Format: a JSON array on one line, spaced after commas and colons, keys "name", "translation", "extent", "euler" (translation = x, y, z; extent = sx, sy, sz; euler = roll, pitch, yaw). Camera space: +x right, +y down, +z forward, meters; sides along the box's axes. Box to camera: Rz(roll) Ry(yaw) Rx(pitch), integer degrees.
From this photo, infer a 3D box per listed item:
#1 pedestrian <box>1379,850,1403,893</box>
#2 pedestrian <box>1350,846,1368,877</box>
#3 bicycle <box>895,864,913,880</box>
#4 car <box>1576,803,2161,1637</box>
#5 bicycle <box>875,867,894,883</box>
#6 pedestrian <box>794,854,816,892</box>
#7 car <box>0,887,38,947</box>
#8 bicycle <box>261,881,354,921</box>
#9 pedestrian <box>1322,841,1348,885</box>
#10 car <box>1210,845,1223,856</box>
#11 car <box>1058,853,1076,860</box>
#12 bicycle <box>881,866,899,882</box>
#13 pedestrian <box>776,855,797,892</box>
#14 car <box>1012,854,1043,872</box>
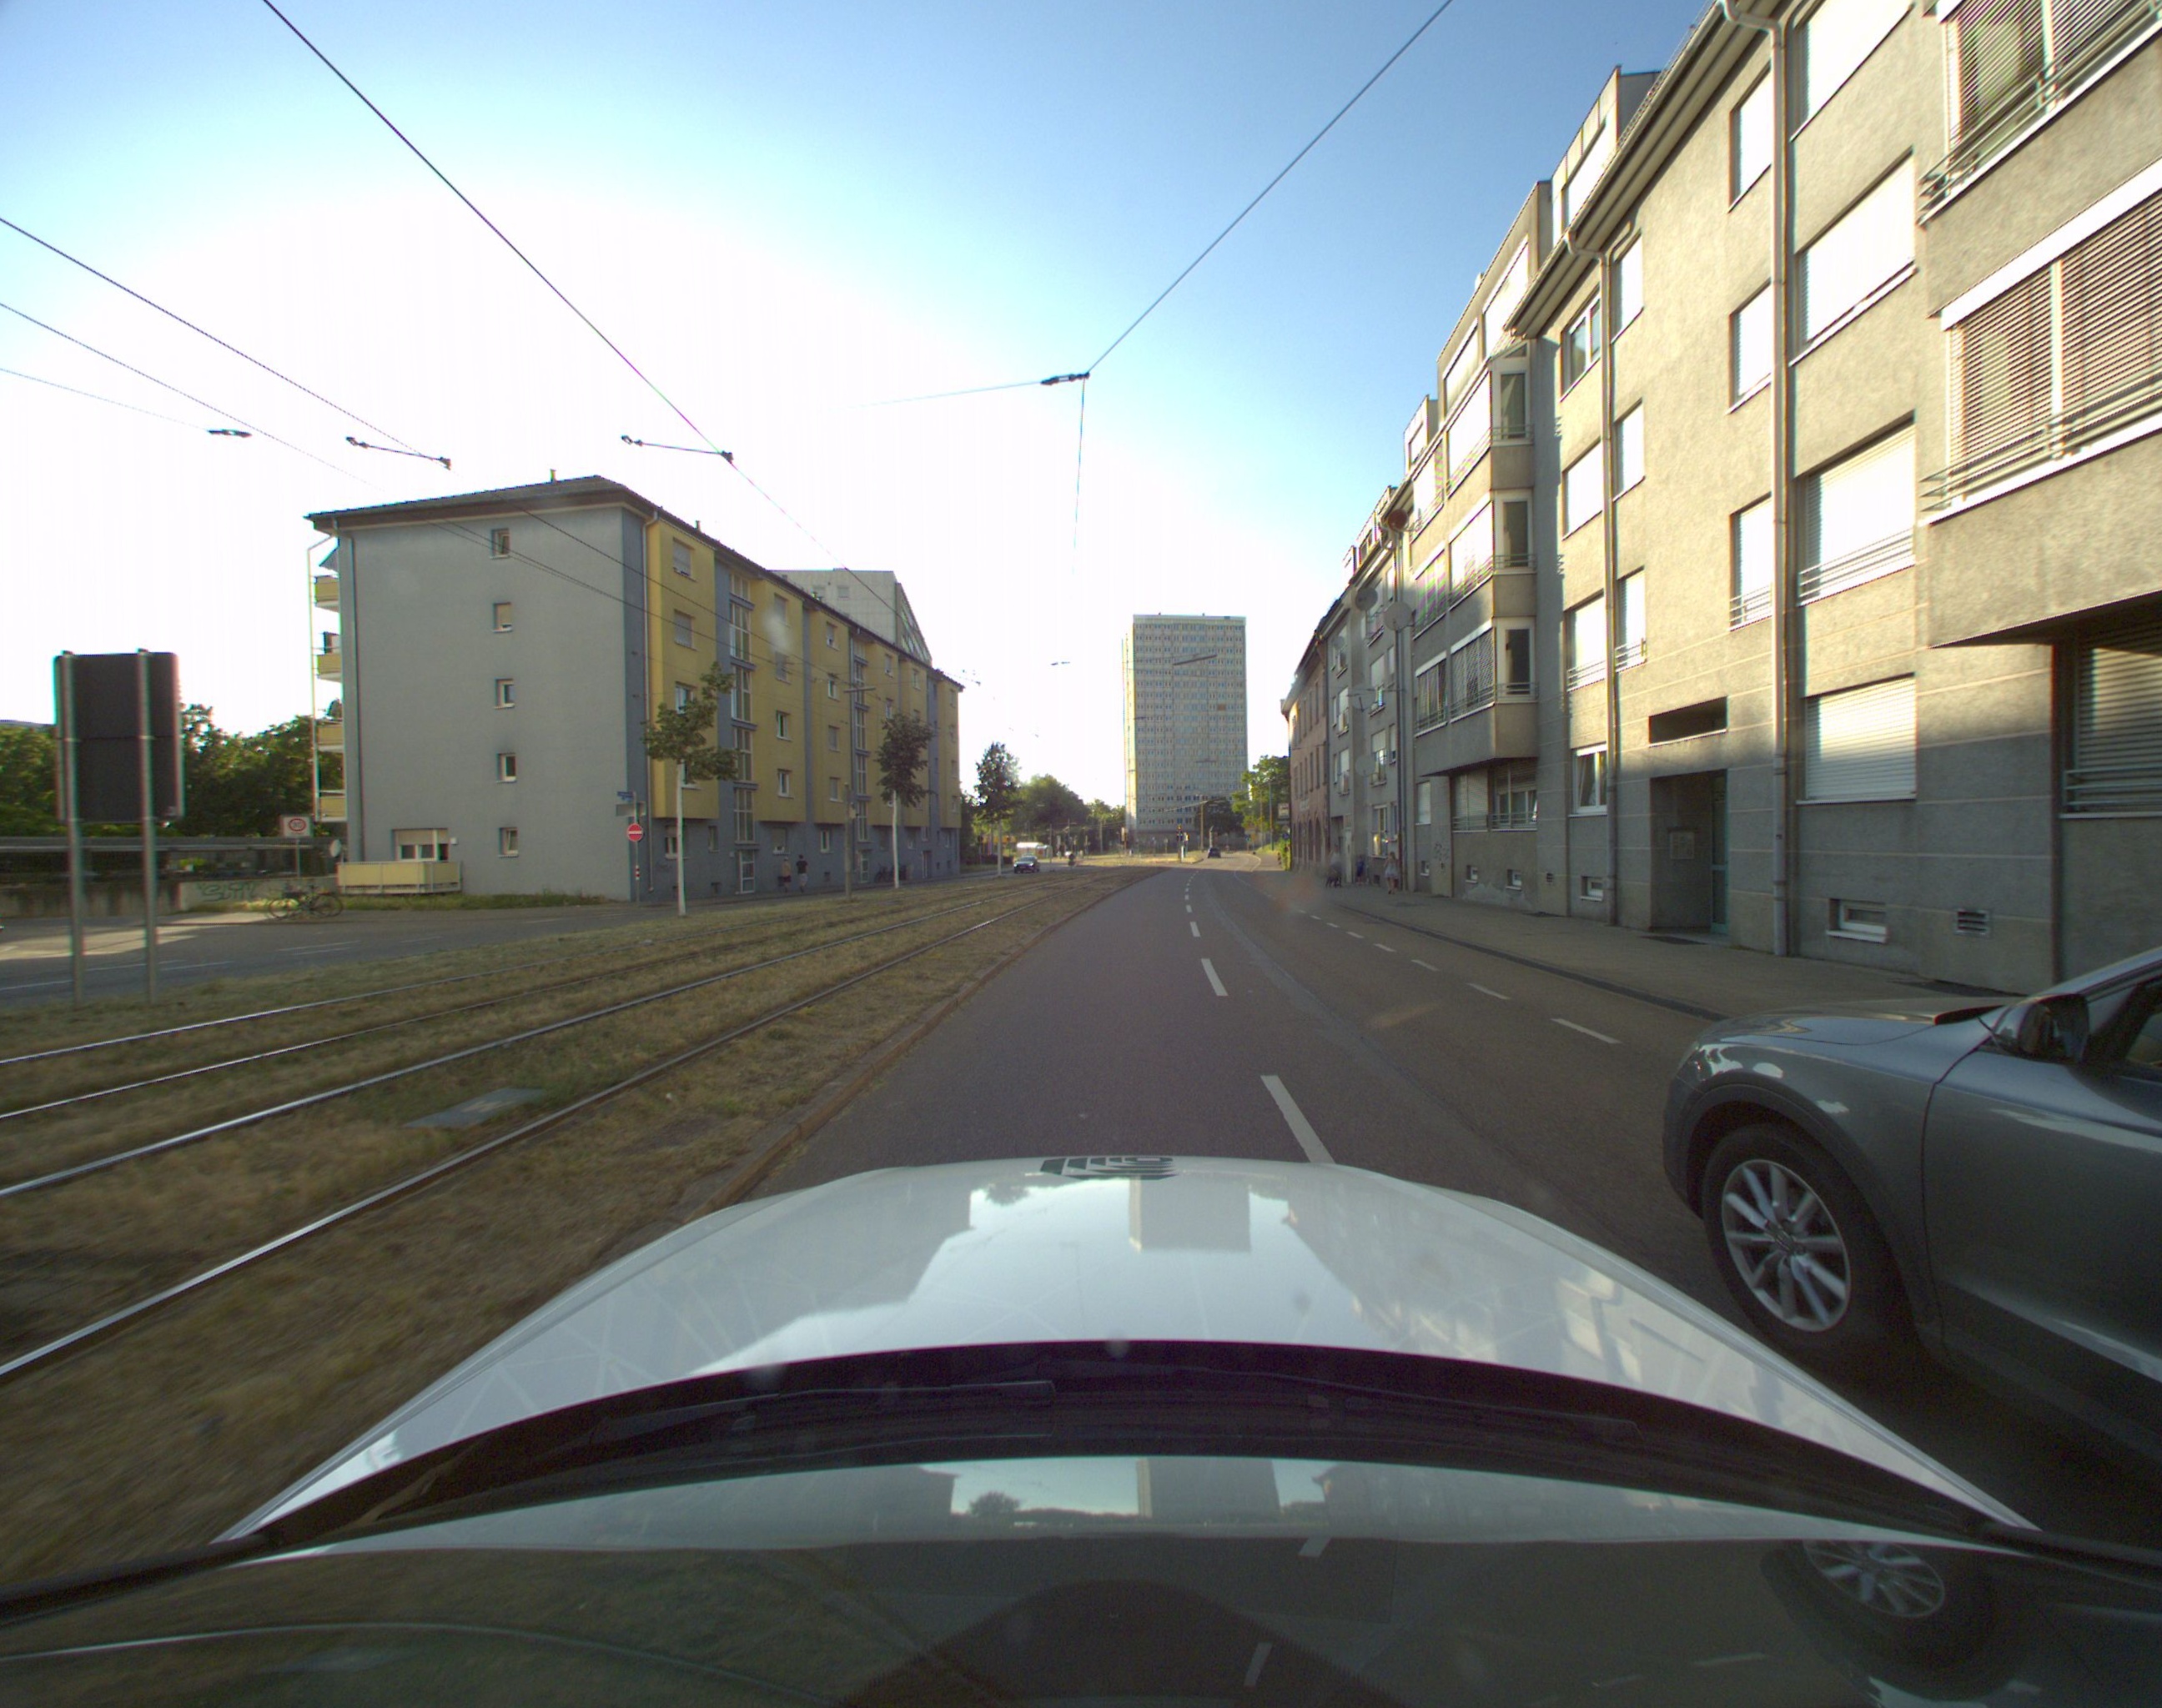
[{"name": "pedestrian", "translation": [9.869, 0.560, 25.901], "extent": [0.512, 1.344, 0.610], "euler": [-2, -1, 4]}, {"name": "pedestrian", "translation": [11.298, 0.297, 33.096], "extent": [0.584, 1.251, 0.586], "euler": [-2, 0, 8]}, {"name": "bicycle", "translation": [-11.876, 1.192, 54.660], "extent": [0.424, 0.960, 1.917], "euler": [-1, 0, 9]}, {"name": "car", "translation": [2.914, 0.680, 1.396], "extent": [1.760, 1.587, 4.070], "euler": [-1, 1, 2]}, {"name": "bicycle", "translation": [-12.313, 1.291, 51.028], "extent": [0.424, 0.925, 1.917], "euler": [2, 1, 9]}, {"name": "pedestrian", "translation": [-13.340, 0.900, 39.373], "extent": [0.590, 1.773, 0.887], "euler": [3, 1, 8]}, {"name": "car", "translation": [-25.575, 1.423, 17.689], "extent": [3.844, 1.294, 1.704], "euler": [-1, 0, 4]}, {"name": "bicycle", "translation": [-22.756, 1.366, 23.989], "extent": [1.954, 1.076, 0.602], "euler": [-1, 0, -10]}, {"name": "pedestrian", "translation": [10.347, 0.349, 33.242], "extent": [0.825, 1.771, 0.998], "euler": [-2, 0, 8]}, {"name": "car", "translation": [18.521, -0.461, 111.117], "extent": [1.761, 1.422, 3.867], "euler": [-2, 1, 10]}, {"name": "car", "translation": [-3.225, 0.664, 191.958], "extent": [3.950, 1.530, 2.012], "euler": [-1, 1, 44]}, {"name": "bicycle", "translation": [-12.259, 1.269, 52.309], "extent": [0.424, 0.925, 1.917], "euler": [2, 1, 9]}, {"name": "pedestrian", "translation": [-14.114, 0.917, 38.989], "extent": [0.613, 1.694, 0.708], "euler": [3, 1, 7]}, {"name": "car", "translation": [-4.830, 0.830, 74.061], "extent": [1.784, 1.469, 4.805], "euler": [-3, -1, 7]}]
